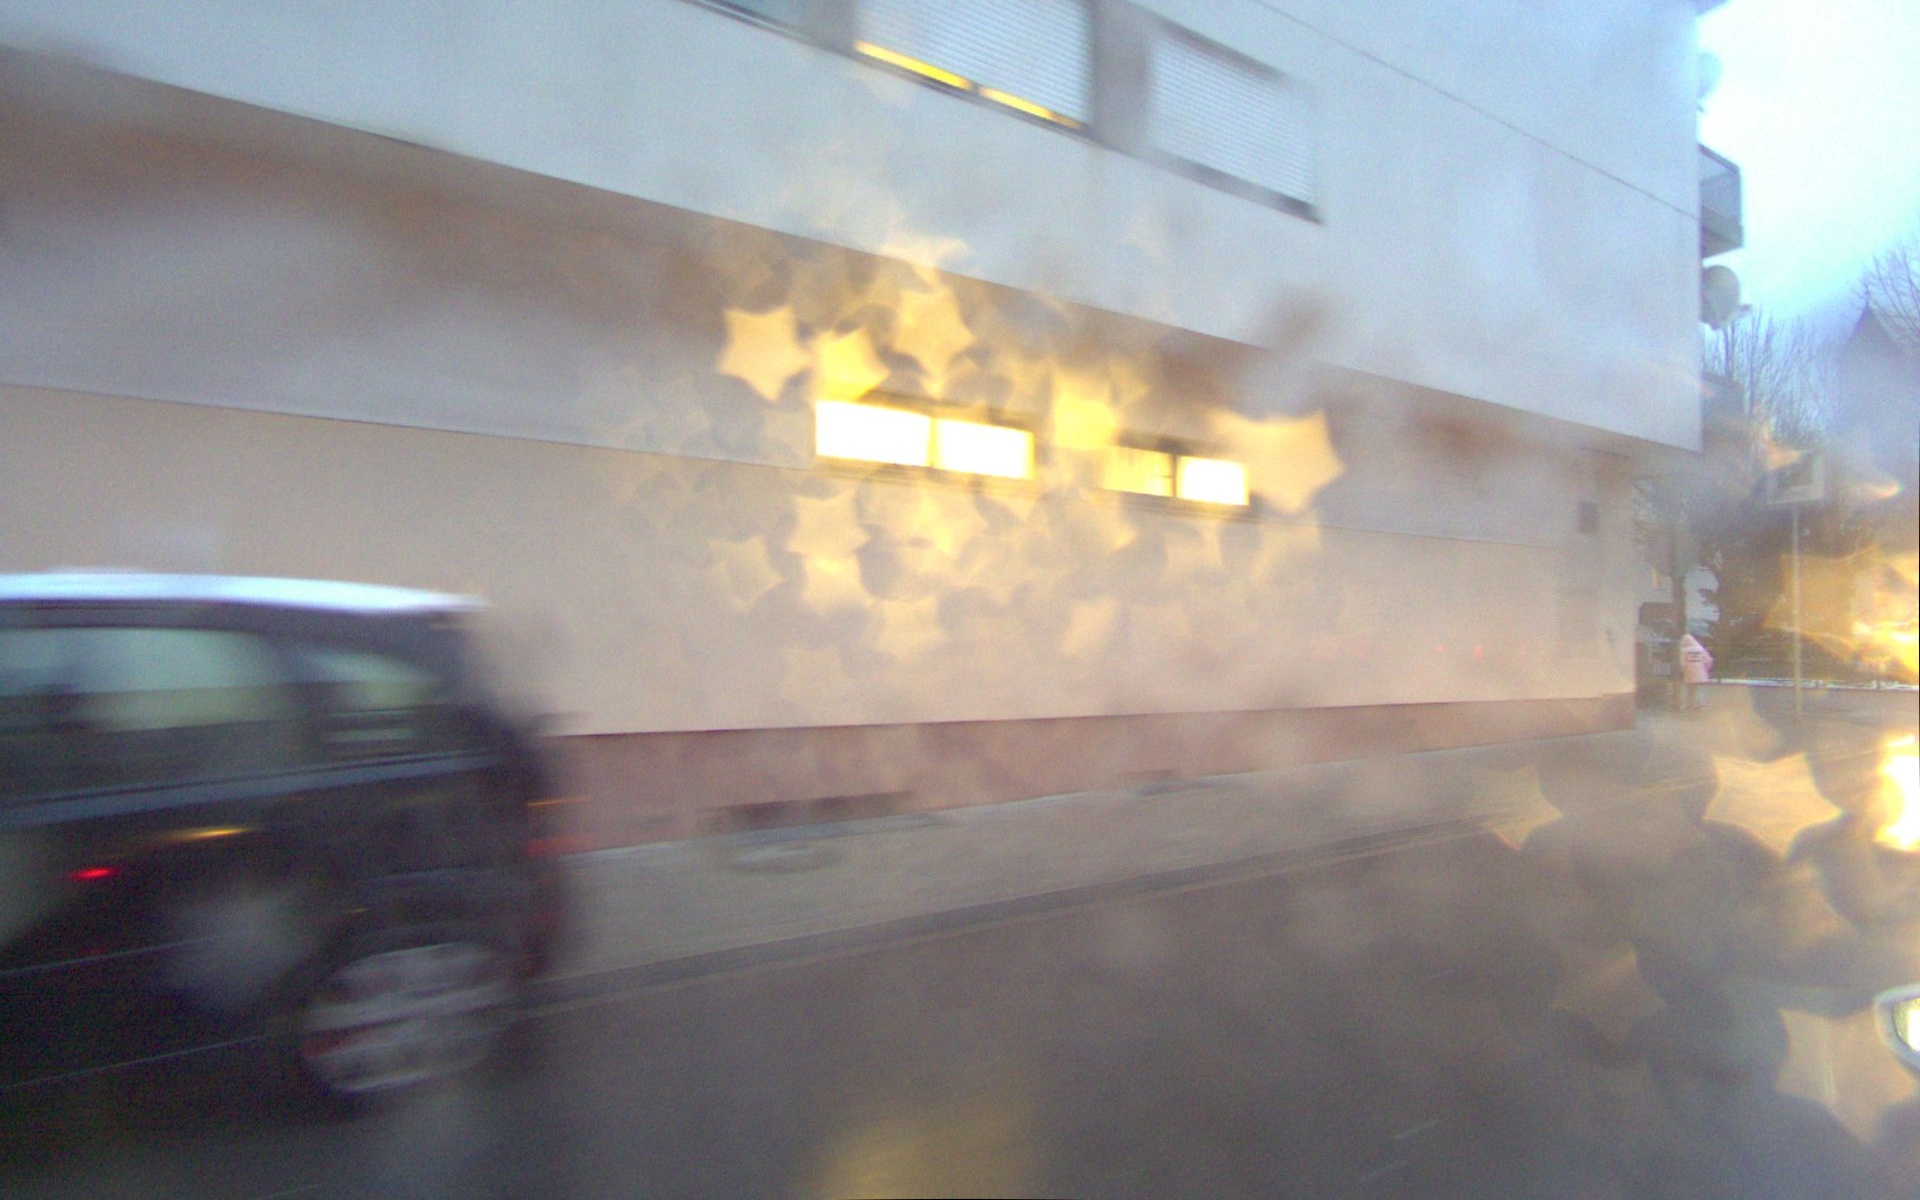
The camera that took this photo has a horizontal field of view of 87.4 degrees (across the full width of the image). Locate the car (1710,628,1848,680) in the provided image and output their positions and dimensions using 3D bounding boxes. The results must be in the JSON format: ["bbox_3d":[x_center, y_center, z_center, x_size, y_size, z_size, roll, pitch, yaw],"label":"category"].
[{"bbox_3d":[32.085,2.064,39.510,1.787,1.936,3.993,0,-1,-10],"label":"car"}]

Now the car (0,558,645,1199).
[{"bbox_3d":[-3.132,0.726,3.211,3.767,1.664,1.785,1,0,-31],"label":"car"}]

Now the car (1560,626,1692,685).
[{"bbox_3d":[24.384,1.982,36.977,1.787,2.014,3.993,0,-1,-10],"label":"car"}]

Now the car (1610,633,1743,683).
[{"bbox_3d":[26.979,2.130,37.992,1.787,1.753,3.993,0,-1,-10],"label":"car"}]

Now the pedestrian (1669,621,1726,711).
[{"bbox_3d":[12.452,1.092,16.979,0.638,1.478,0.650,0,0,24],"label":"pedestrian"}]
